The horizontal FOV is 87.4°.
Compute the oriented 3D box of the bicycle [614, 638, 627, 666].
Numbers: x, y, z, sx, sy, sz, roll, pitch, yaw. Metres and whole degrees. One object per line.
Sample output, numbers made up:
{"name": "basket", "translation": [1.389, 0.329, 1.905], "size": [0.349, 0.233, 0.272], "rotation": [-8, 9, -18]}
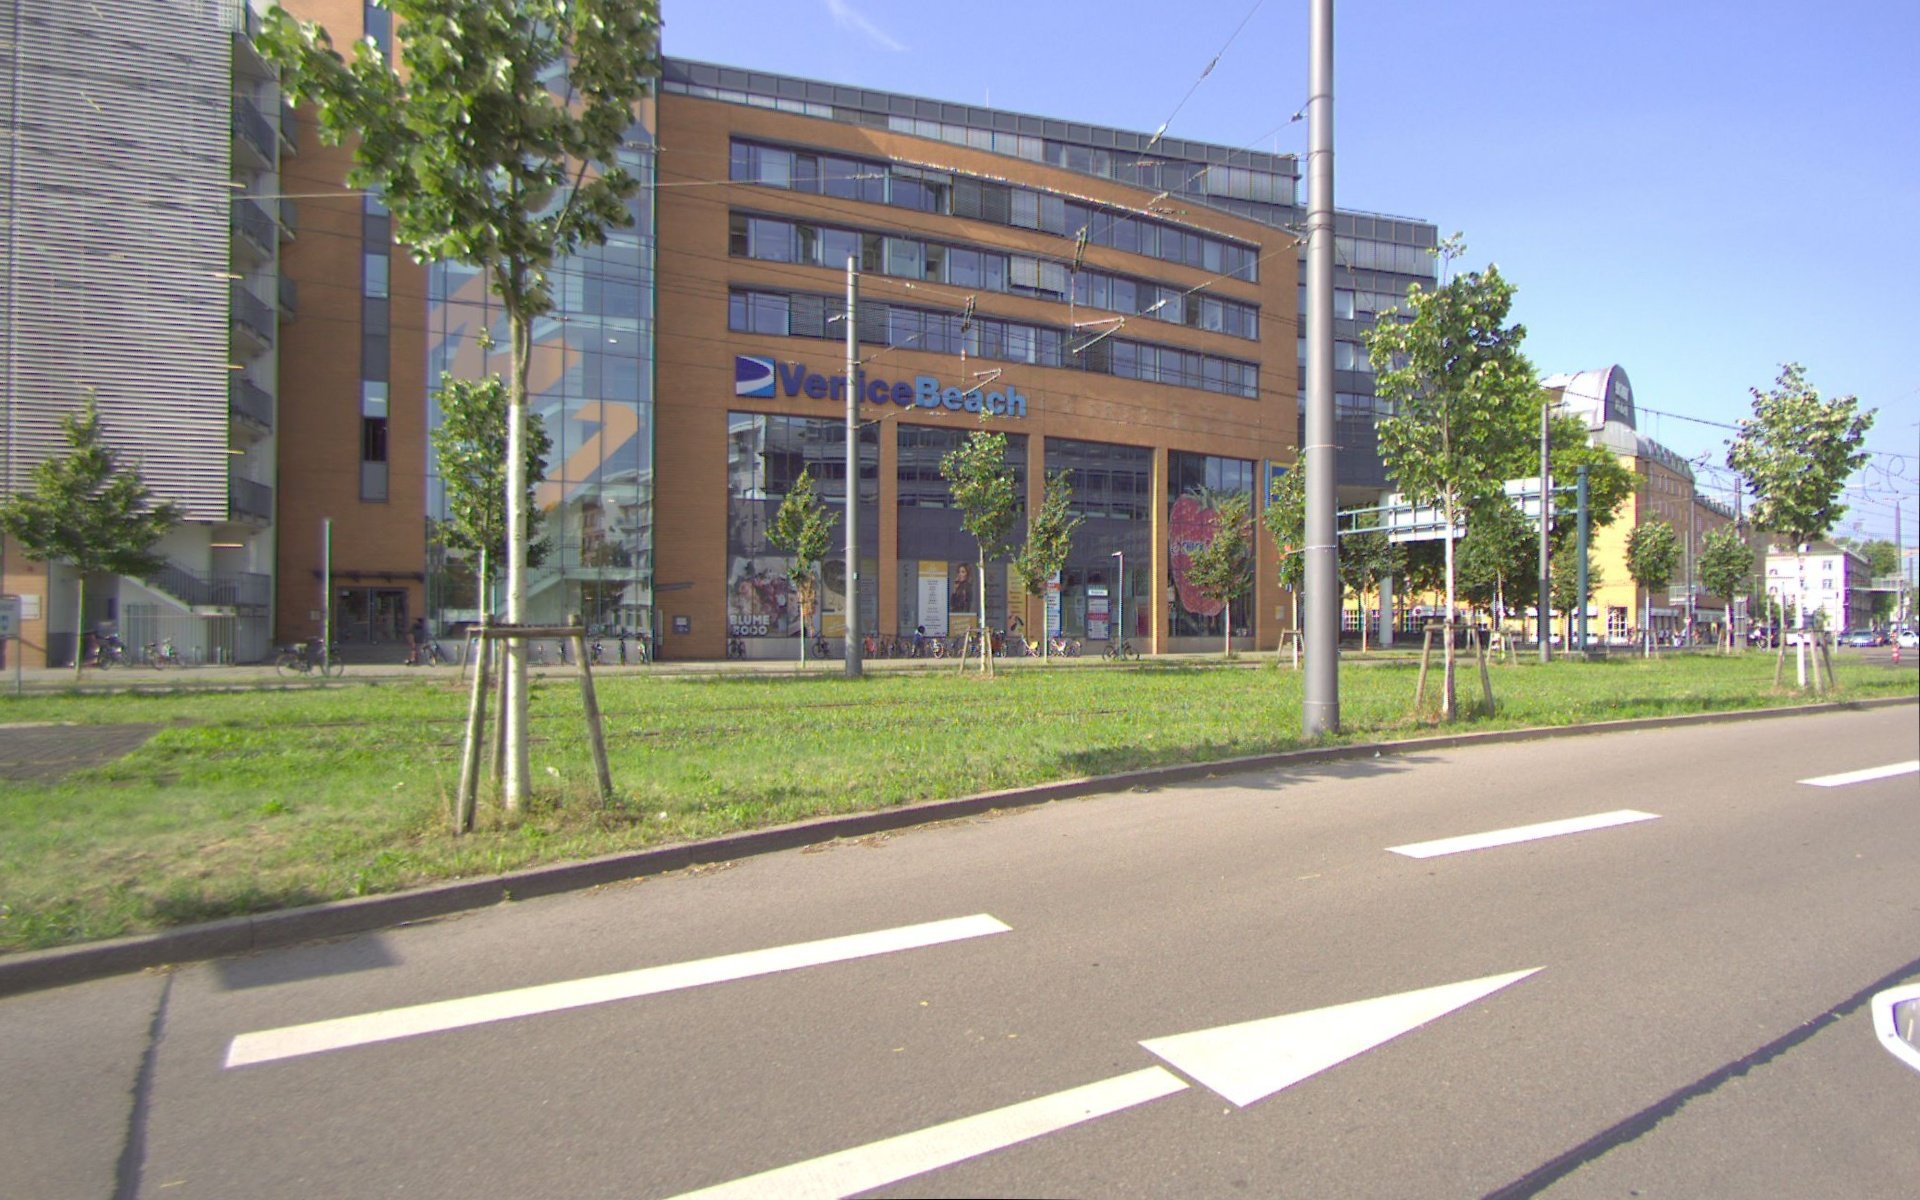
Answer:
{"name": "bicycle", "translation": [-12.241, 1.872, 36.267], "size": [0.404, 0.952, 1.578], "rotation": [1, -1, -17]}

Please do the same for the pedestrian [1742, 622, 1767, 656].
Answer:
{"name": "pedestrian", "translation": [48.443, 2.352, 61.245], "size": [0.771, 2.040, 1.144], "rotation": [3, -3, -44]}

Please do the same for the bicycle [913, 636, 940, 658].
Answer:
{"name": "bicycle", "translation": [-1.533, 2.088, 45.119], "size": [0.565, 0.934, 2.044], "rotation": [1, -1, -22]}

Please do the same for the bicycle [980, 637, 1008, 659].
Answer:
{"name": "bicycle", "translation": [1.570, 2.216, 46.670], "size": [0.565, 0.934, 2.044], "rotation": [1, -1, -22]}

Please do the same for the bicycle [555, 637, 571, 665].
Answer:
{"name": "bicycle", "translation": [-14.171, 1.822, 35.856], "size": [0.404, 0.952, 1.578], "rotation": [1, -1, -17]}

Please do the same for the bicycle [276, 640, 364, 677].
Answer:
{"name": "bicycle", "translation": [-18.631, 1.703, 29.249], "size": [2.124, 1.001, 0.445], "rotation": [2, -2, -8]}

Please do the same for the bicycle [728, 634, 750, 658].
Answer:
{"name": "bicycle", "translation": [-9.198, 1.911, 41.816], "size": [0.565, 0.934, 2.044], "rotation": [1, -1, -22]}

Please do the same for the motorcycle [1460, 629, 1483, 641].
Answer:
{"name": "motorcycle", "translation": [42.466, 2.888, 83.425], "size": [0.282, 1.008, 1.675], "rotation": [0, -1, -40]}

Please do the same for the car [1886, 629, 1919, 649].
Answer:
{"name": "car", "translation": [77.894, 3.232, 82.229], "size": [1.700, 1.562, 3.449], "rotation": [1, -2, 17]}

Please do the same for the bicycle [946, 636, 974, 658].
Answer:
{"name": "bicycle", "translation": [-0.007, 2.147, 45.868], "size": [0.565, 0.934, 2.044], "rotation": [1, -1, -22]}

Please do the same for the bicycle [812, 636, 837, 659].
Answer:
{"name": "bicycle", "translation": [-5.835, 2.037, 43.156], "size": [0.565, 0.934, 2.044], "rotation": [1, -1, -22]}

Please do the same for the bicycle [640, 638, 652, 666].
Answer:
{"name": "bicycle", "translation": [-11.426, 1.880, 36.532], "size": [0.404, 0.952, 1.578], "rotation": [1, -1, -17]}

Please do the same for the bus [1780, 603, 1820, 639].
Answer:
{"name": "bus", "translation": [95.631, 2.415, 114.320], "size": [2.717, 3.973, 12.144], "rotation": [-1, -2, 43]}

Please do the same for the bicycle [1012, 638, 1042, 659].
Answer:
{"name": "bicycle", "translation": [3.145, 2.278, 47.167], "size": [0.565, 0.934, 2.044], "rotation": [1, -1, -22]}

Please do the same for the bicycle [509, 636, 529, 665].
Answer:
{"name": "bicycle", "translation": [-15.613, 1.780, 35.557], "size": [0.465, 0.952, 1.578], "rotation": [1, -1, -18]}

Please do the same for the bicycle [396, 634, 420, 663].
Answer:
{"name": "bicycle", "translation": [-18.917, 1.661, 34.460], "size": [0.404, 0.952, 1.578], "rotation": [1, -1, -17]}

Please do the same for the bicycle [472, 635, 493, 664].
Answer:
{"name": "bicycle", "translation": [-16.737, 1.728, 35.223], "size": [0.404, 0.952, 1.578], "rotation": [1, -1, -17]}

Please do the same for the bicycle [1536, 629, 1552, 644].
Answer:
{"name": "bicycle", "translation": [48.842, 3.055, 84.036], "size": [0.539, 1.222, 2.289], "rotation": [1, -2, 15]}

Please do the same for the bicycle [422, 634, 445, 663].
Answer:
{"name": "bicycle", "translation": [-18.198, 1.666, 34.716], "size": [0.404, 0.952, 1.578], "rotation": [1, -1, -17]}

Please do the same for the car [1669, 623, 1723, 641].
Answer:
{"name": "car", "translation": [68.711, 2.938, 93.811], "size": [1.843, 1.645, 3.601], "rotation": [1, -2, -26]}

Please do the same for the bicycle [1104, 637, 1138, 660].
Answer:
{"name": "bicycle", "translation": [6.940, 2.084, 43.388], "size": [0.699, 0.919, 1.672], "rotation": [1, -1, -21]}

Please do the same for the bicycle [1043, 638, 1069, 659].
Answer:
{"name": "bicycle", "translation": [4.579, 2.290, 47.933], "size": [0.375, 0.934, 2.044], "rotation": [1, -1, -22]}

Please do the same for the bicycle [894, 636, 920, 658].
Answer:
{"name": "bicycle", "translation": [-2.365, 2.102, 44.764], "size": [0.565, 0.934, 2.044], "rotation": [1, -1, -22]}

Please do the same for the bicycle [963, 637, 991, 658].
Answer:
{"name": "bicycle", "translation": [0.773, 2.174, 46.276], "size": [0.565, 0.934, 2.044], "rotation": [1, -1, -22]}

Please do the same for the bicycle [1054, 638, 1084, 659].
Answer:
{"name": "bicycle", "translation": [5.232, 2.320, 48.253], "size": [0.565, 0.934, 2.044], "rotation": [1, -1, -22]}

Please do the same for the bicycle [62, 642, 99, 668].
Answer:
{"name": "bicycle", "translation": [-26.926, 1.666, 30.764], "size": [0.444, 0.762, 1.003], "rotation": [0, -1, -15]}

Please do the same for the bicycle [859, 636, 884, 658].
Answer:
{"name": "bicycle", "translation": [-3.895, 2.041, 44.045], "size": [0.565, 0.934, 2.044], "rotation": [1, -1, -22]}

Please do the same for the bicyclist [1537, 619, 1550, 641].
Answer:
{"name": "bicyclist", "translation": [48.875, 2.504, 84.128], "size": [0.653, 1.769, 0.968], "rotation": [1, -2, 16]}

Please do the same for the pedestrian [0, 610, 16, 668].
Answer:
{"name": "pedestrian", "translation": [-29.199, 1.161, 30.037], "size": [1.157, 1.742, 0.817], "rotation": [0, -1, -17]}

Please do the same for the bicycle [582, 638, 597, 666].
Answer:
{"name": "bicycle", "translation": [-13.391, 1.859, 36.319], "size": [0.404, 0.952, 1.578], "rotation": [1, -1, -17]}

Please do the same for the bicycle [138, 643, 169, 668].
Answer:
{"name": "bicycle", "translation": [-25.102, 1.716, 31.263], "size": [0.355, 0.762, 1.021], "rotation": [0, -1, -15]}

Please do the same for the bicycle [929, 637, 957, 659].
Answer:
{"name": "bicycle", "translation": [-0.782, 2.153, 45.522], "size": [0.565, 0.934, 2.044], "rotation": [1, -1, -22]}

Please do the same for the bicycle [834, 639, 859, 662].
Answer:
{"name": "bicycle", "translation": [-4.960, 2.189, 43.612], "size": [0.565, 0.934, 2.044], "rotation": [1, -1, -22]}

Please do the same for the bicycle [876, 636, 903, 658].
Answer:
{"name": "bicycle", "translation": [-3.127, 2.075, 44.435], "size": [0.565, 0.934, 2.044], "rotation": [1, -1, -22]}

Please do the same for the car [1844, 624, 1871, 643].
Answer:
{"name": "car", "translation": [84.688, 3.132, 94.794], "size": [1.667, 1.656, 4.364], "rotation": [-2, -1, 44]}

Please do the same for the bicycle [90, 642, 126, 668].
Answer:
{"name": "bicycle", "translation": [-26.227, 1.685, 30.935], "size": [0.444, 0.762, 1.003], "rotation": [0, -1, -15]}

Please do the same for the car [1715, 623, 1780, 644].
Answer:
{"name": "car", "translation": [67.392, 2.885, 86.002], "size": [1.979, 1.700, 3.965], "rotation": [3, -3, -32]}
